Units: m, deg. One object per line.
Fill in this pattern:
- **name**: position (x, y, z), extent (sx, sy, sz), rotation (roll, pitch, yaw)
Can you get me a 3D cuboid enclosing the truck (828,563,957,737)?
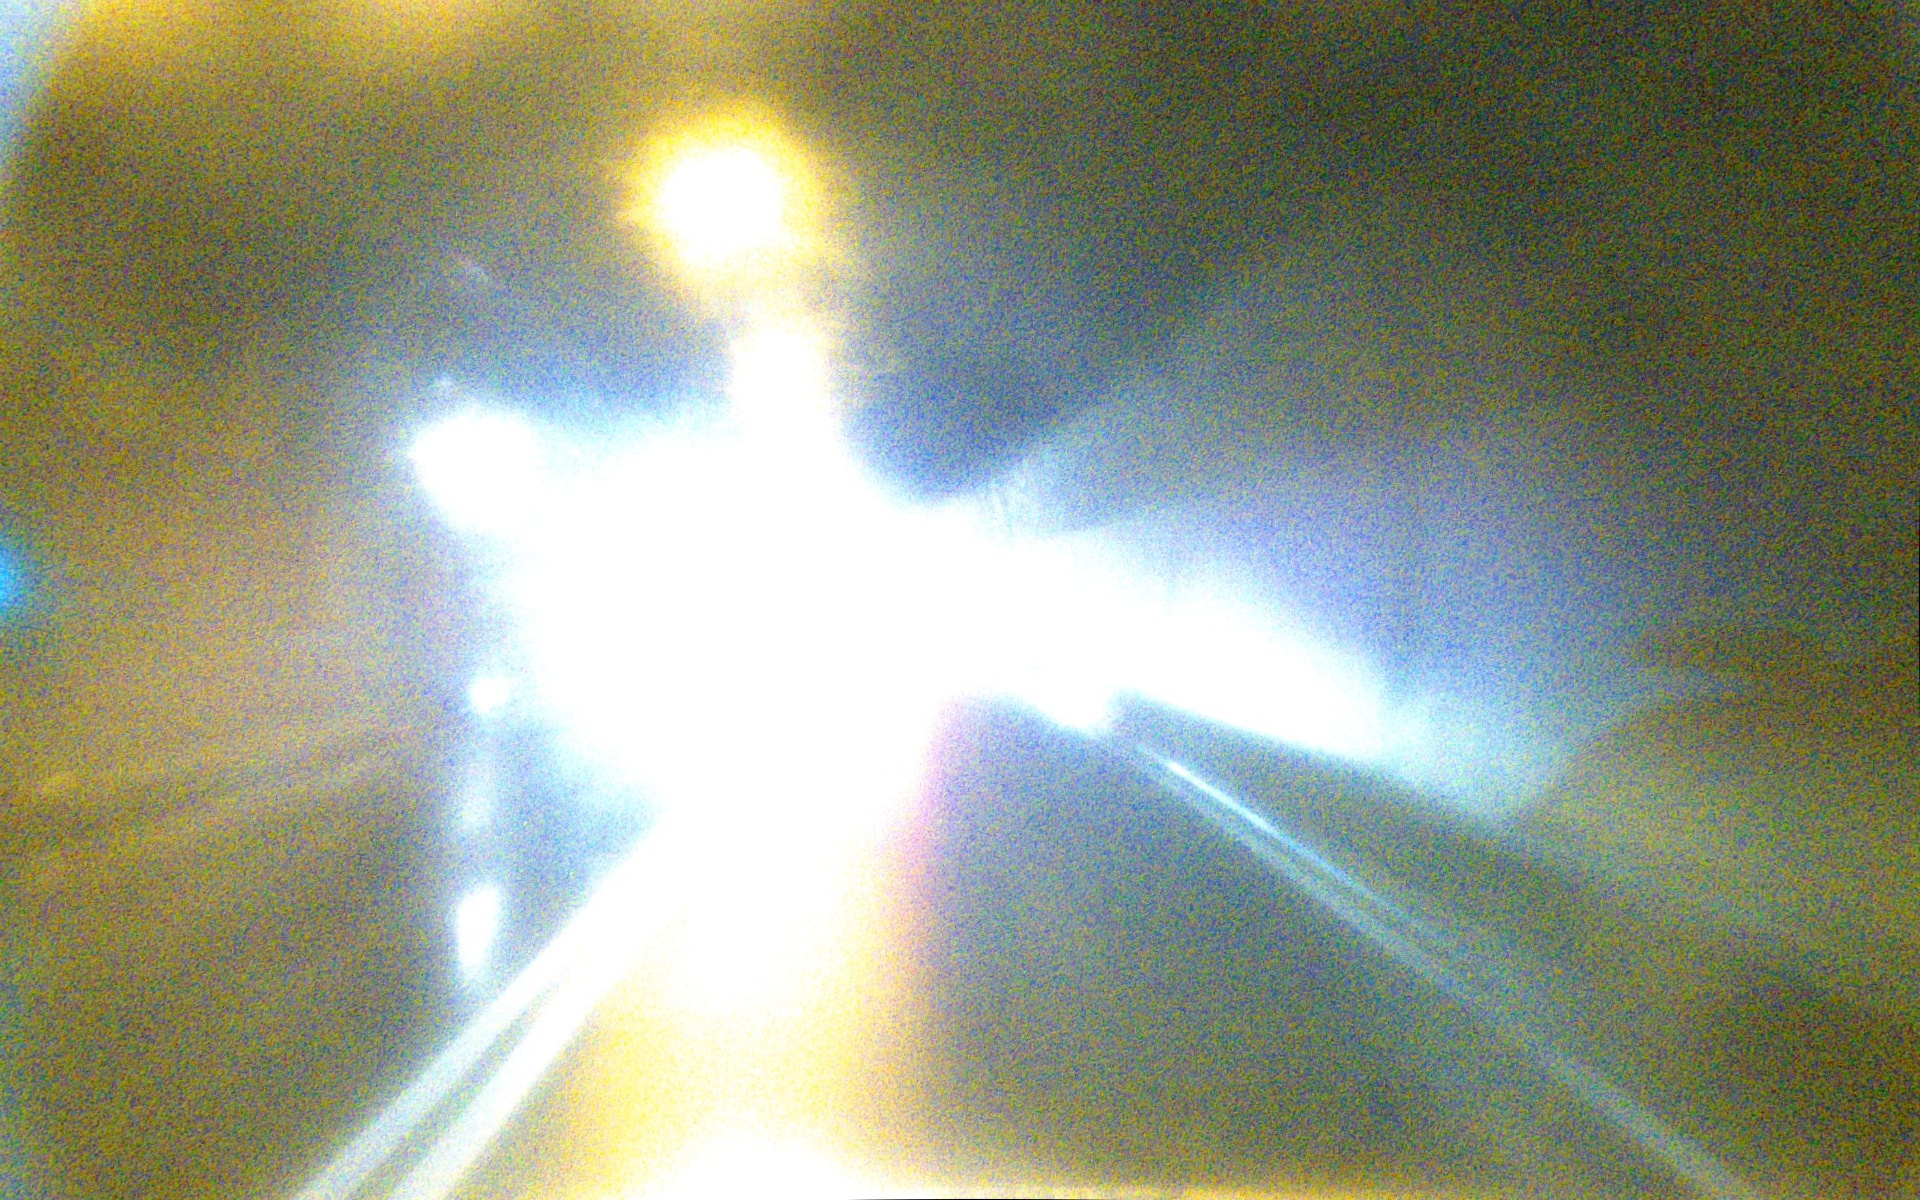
- **truck**: position (-1.427, 0.911, 33.848), extent (2.217, 3.063, 7.410), rotation (3, 0, -3)
